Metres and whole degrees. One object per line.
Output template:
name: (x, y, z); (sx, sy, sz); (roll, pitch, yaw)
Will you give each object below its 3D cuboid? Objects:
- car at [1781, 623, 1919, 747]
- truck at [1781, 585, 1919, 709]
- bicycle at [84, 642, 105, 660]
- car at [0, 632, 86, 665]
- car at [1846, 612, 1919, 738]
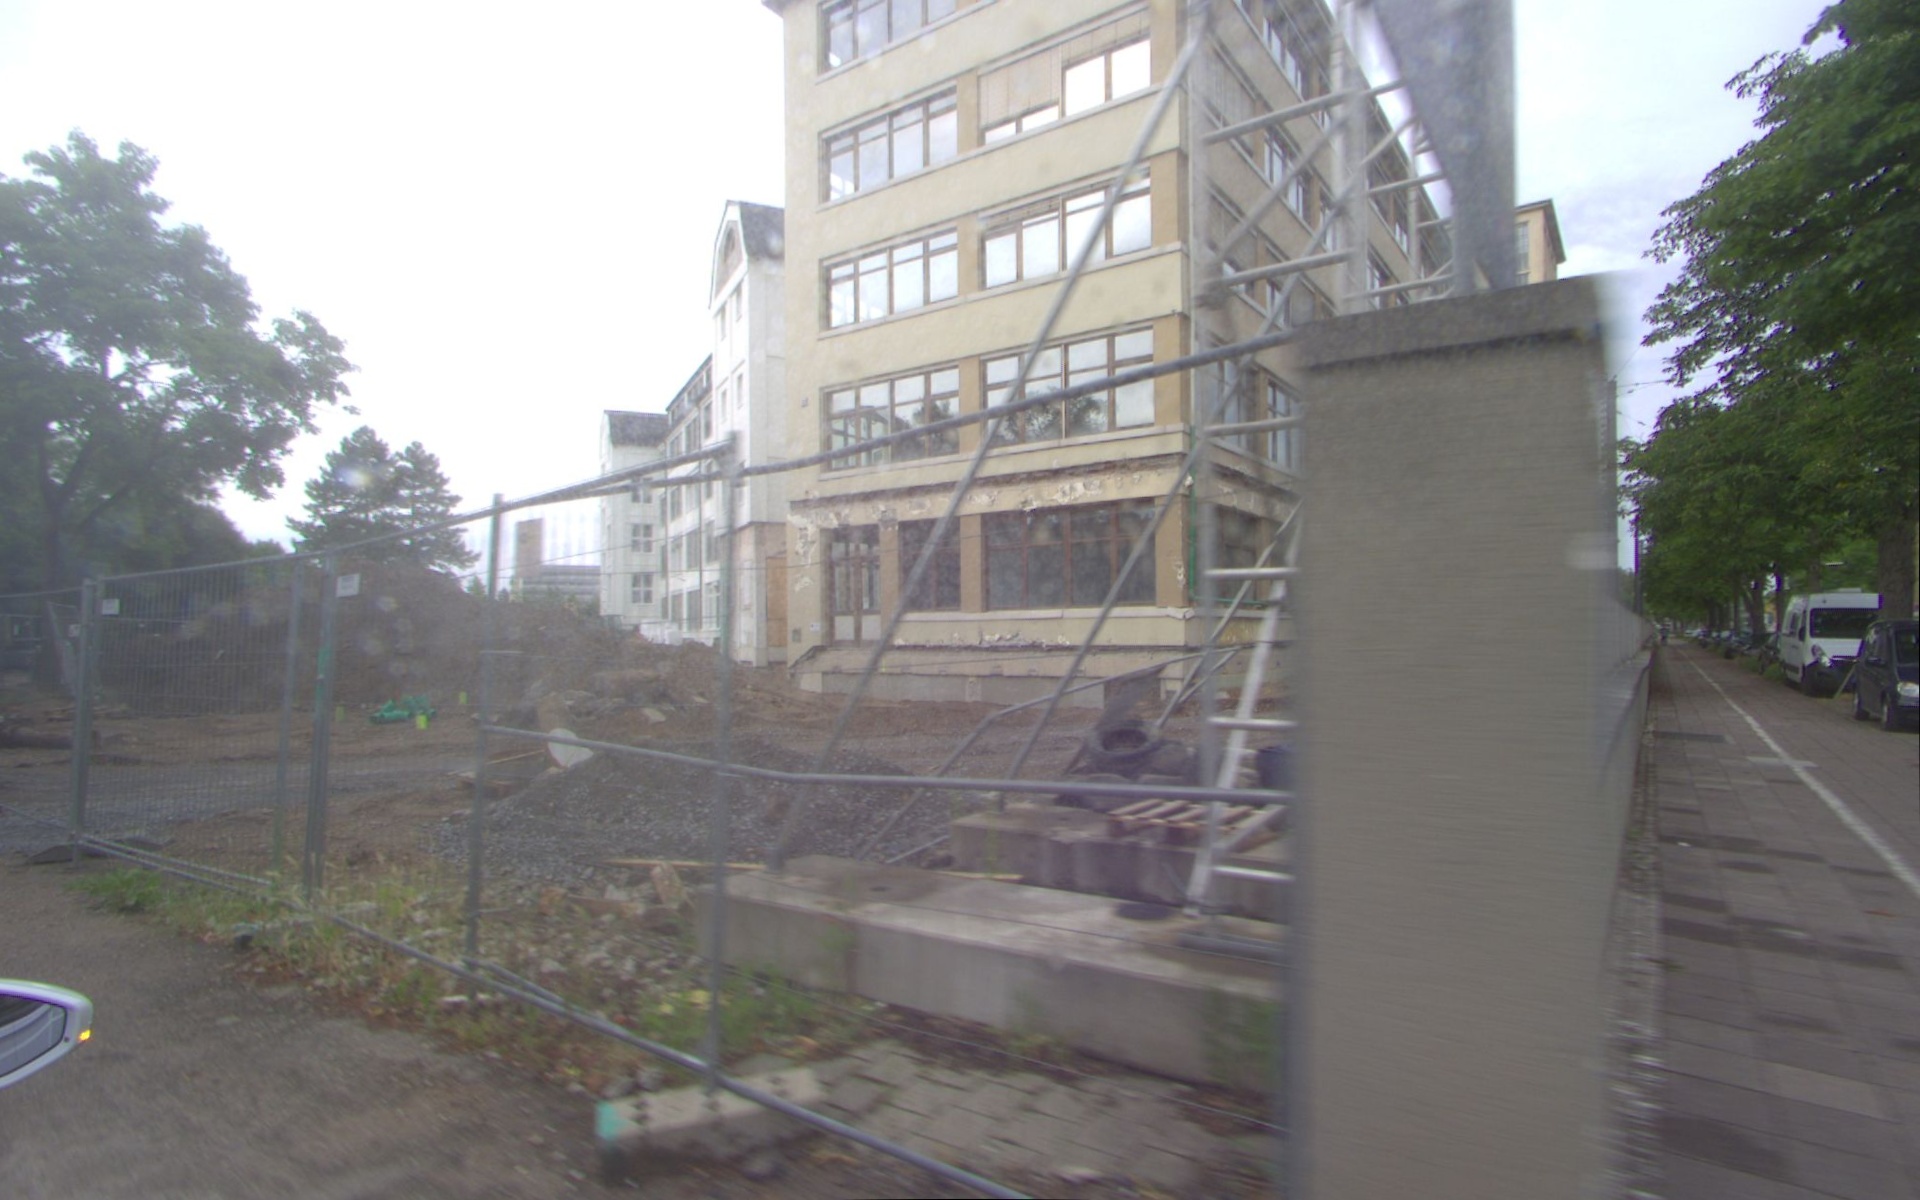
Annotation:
car: (21.258, 1.886, 23.920); (2.092, 2.635, 5.458); (-2, -2, 35)
truck: (21.308, 1.071, 24.030); (2.091, 2.636, 5.459); (0, -1, 35)
bicycle: (-48.559, 2.855, 56.201); (0.764, 0.990, 2.016); (1, -2, -38)
car: (-44.400, 2.312, 47.759); (3.653, 1.520, 1.861); (1, -1, -25)
car: (15.623, 1.131, 16.025); (1.636, 1.836, 4.060); (2, 0, 35)
